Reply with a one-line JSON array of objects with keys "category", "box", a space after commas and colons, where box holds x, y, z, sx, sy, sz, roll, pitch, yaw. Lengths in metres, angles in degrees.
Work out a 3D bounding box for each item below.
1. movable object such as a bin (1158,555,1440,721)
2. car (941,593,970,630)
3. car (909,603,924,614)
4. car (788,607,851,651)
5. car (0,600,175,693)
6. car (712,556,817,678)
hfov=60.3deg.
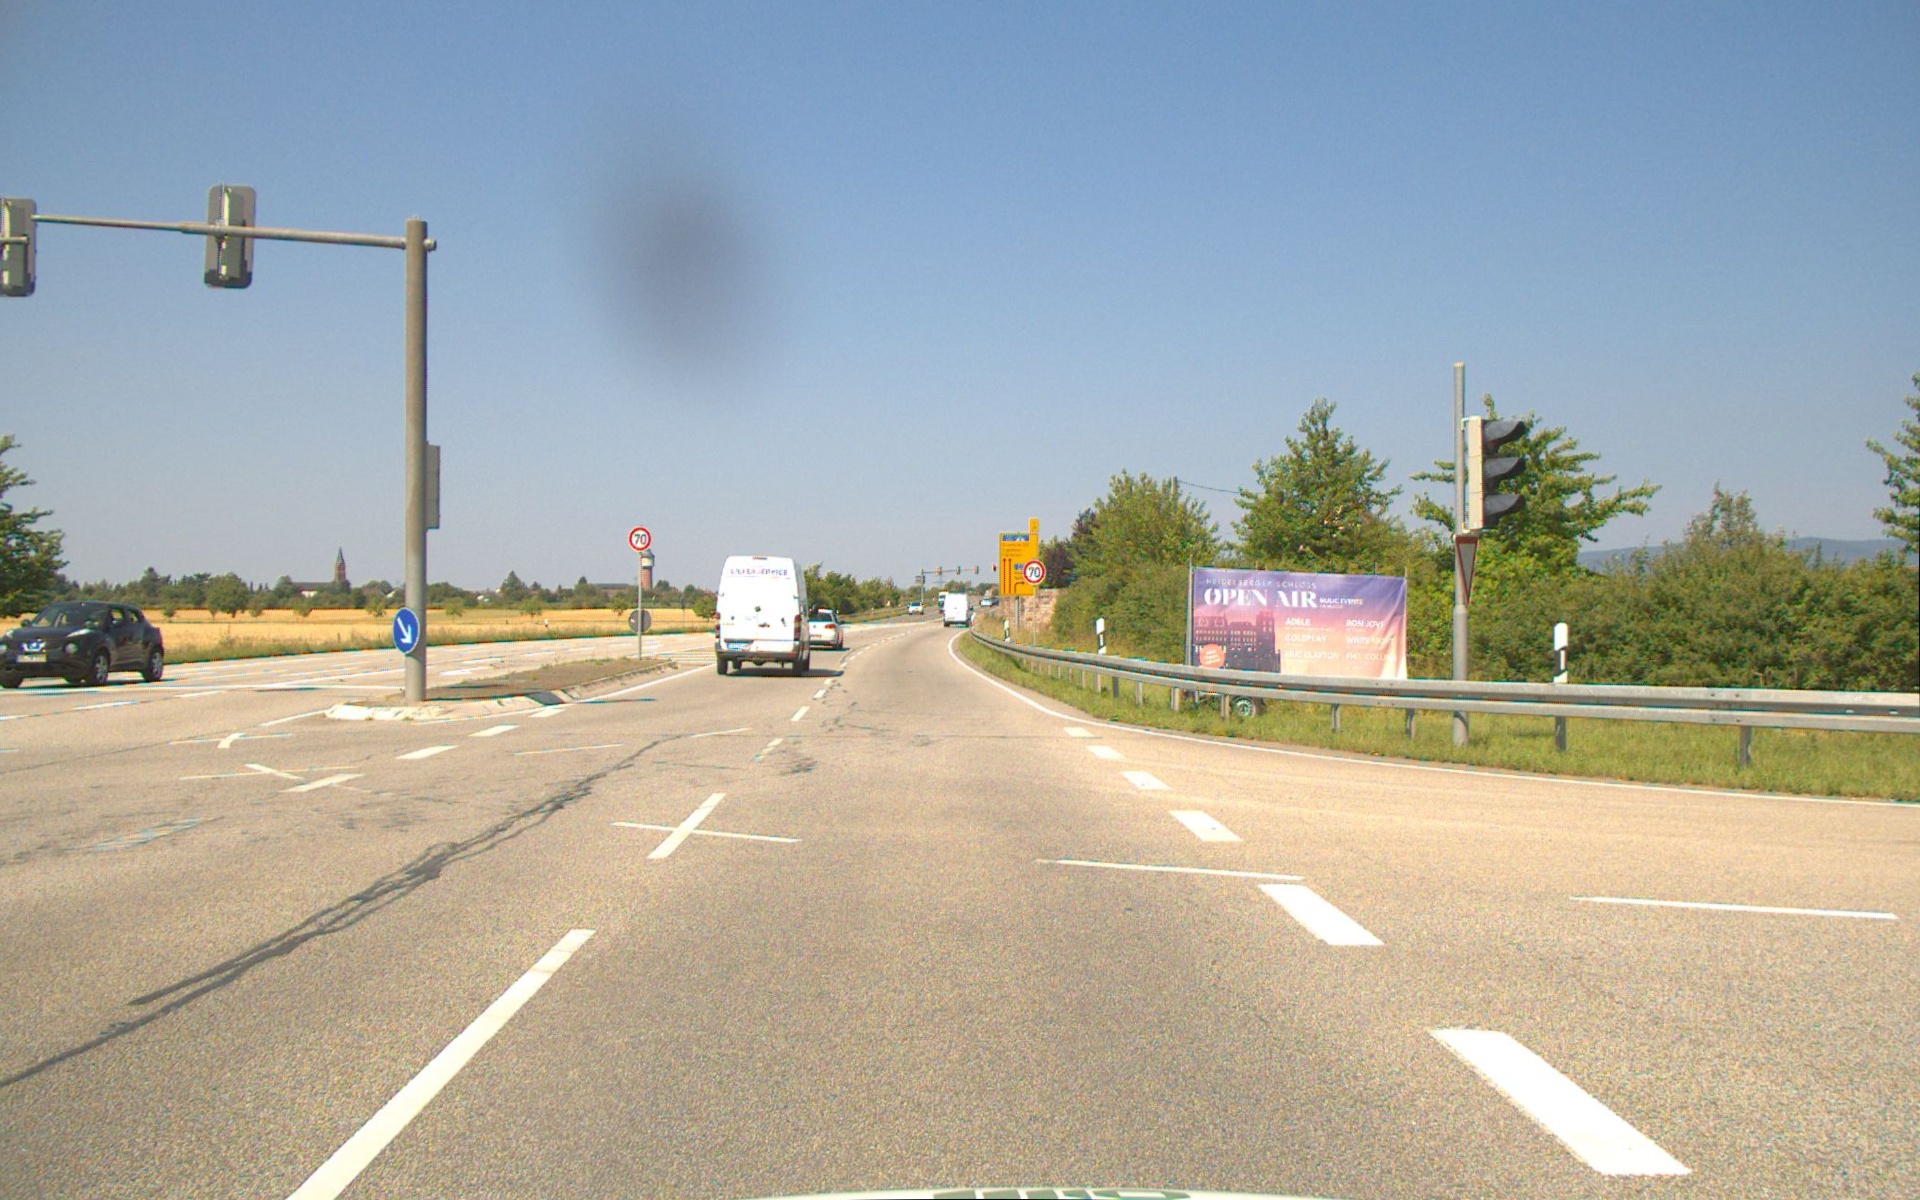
[{"category": "movable object such as a bin", "box": [5.170, 0.580, 25.389, 4.014, 2.372, 1.276, 2, -1, -5]}, {"category": "car", "box": [-0.330, 0.893, 129.567, 1.952, 2.742, 4.970, 2, -1, 3]}, {"category": "car", "box": [-5.892, 1.111, 222.697, 1.712, 1.467, 4.083, 0, 0, 3]}, {"category": "car", "box": [-5.230, 1.050, 62.018, 1.762, 1.534, 4.197, 1, 0, 3]}, {"category": "car", "box": [-16.750, 0.864, 31.534, 1.794, 1.628, 4.301, -1, -1, -5]}, {"category": "car", "box": [-4.557, 0.412, 39.324, 1.998, 2.666, 5.738, 0, -1, -2]}]
